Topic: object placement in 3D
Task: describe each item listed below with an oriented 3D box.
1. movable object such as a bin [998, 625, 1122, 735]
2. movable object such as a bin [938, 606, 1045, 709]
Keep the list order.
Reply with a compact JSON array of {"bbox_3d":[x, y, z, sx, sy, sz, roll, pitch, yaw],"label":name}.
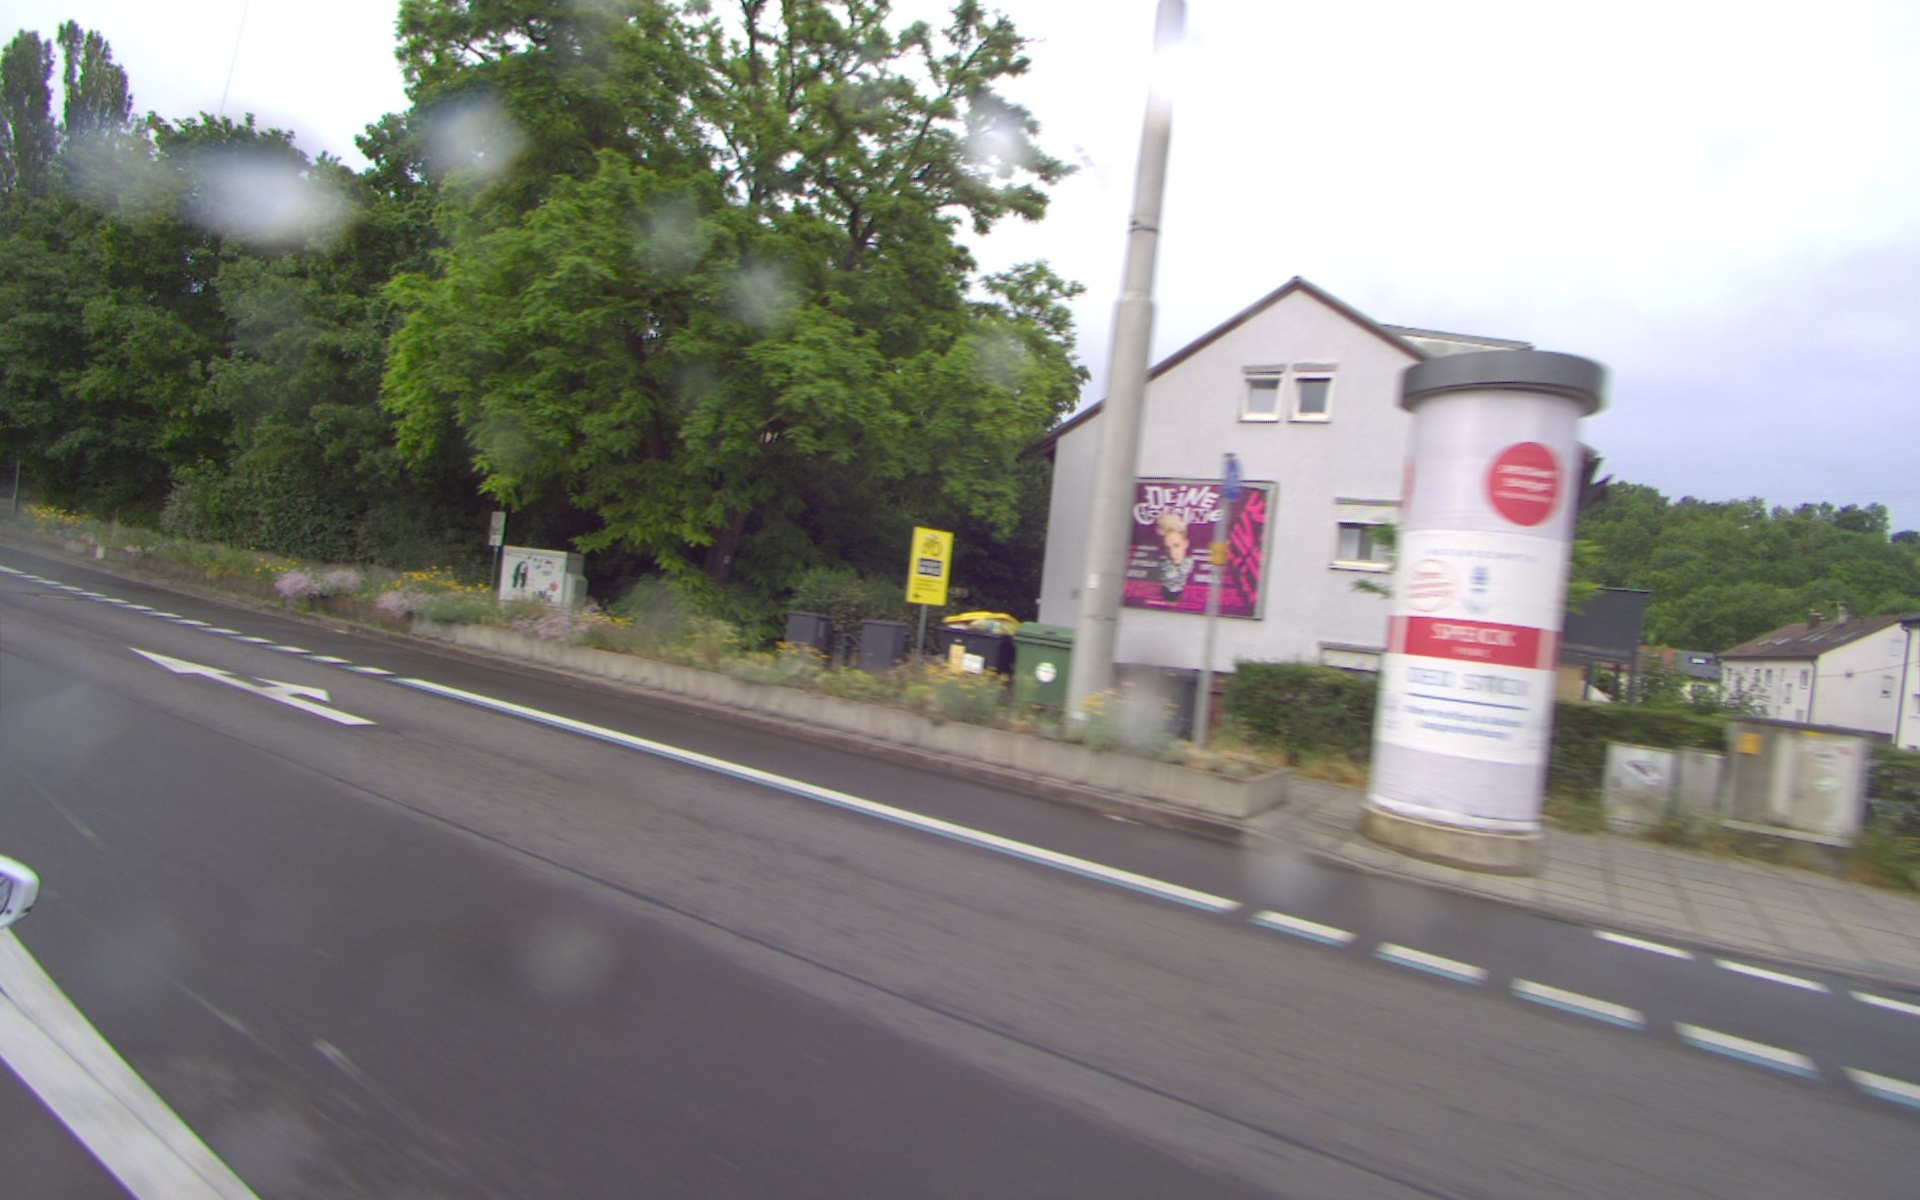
[{"bbox_3d":[1.497,1.183,14.906,1.278,1.434,1.314,5,-2,29],"label":"movable object such as a bin"},{"bbox_3d":[0.502,0.906,15.647,1.115,1.434,1.187,5,-2,29],"label":"movable object such as a bin"}]
